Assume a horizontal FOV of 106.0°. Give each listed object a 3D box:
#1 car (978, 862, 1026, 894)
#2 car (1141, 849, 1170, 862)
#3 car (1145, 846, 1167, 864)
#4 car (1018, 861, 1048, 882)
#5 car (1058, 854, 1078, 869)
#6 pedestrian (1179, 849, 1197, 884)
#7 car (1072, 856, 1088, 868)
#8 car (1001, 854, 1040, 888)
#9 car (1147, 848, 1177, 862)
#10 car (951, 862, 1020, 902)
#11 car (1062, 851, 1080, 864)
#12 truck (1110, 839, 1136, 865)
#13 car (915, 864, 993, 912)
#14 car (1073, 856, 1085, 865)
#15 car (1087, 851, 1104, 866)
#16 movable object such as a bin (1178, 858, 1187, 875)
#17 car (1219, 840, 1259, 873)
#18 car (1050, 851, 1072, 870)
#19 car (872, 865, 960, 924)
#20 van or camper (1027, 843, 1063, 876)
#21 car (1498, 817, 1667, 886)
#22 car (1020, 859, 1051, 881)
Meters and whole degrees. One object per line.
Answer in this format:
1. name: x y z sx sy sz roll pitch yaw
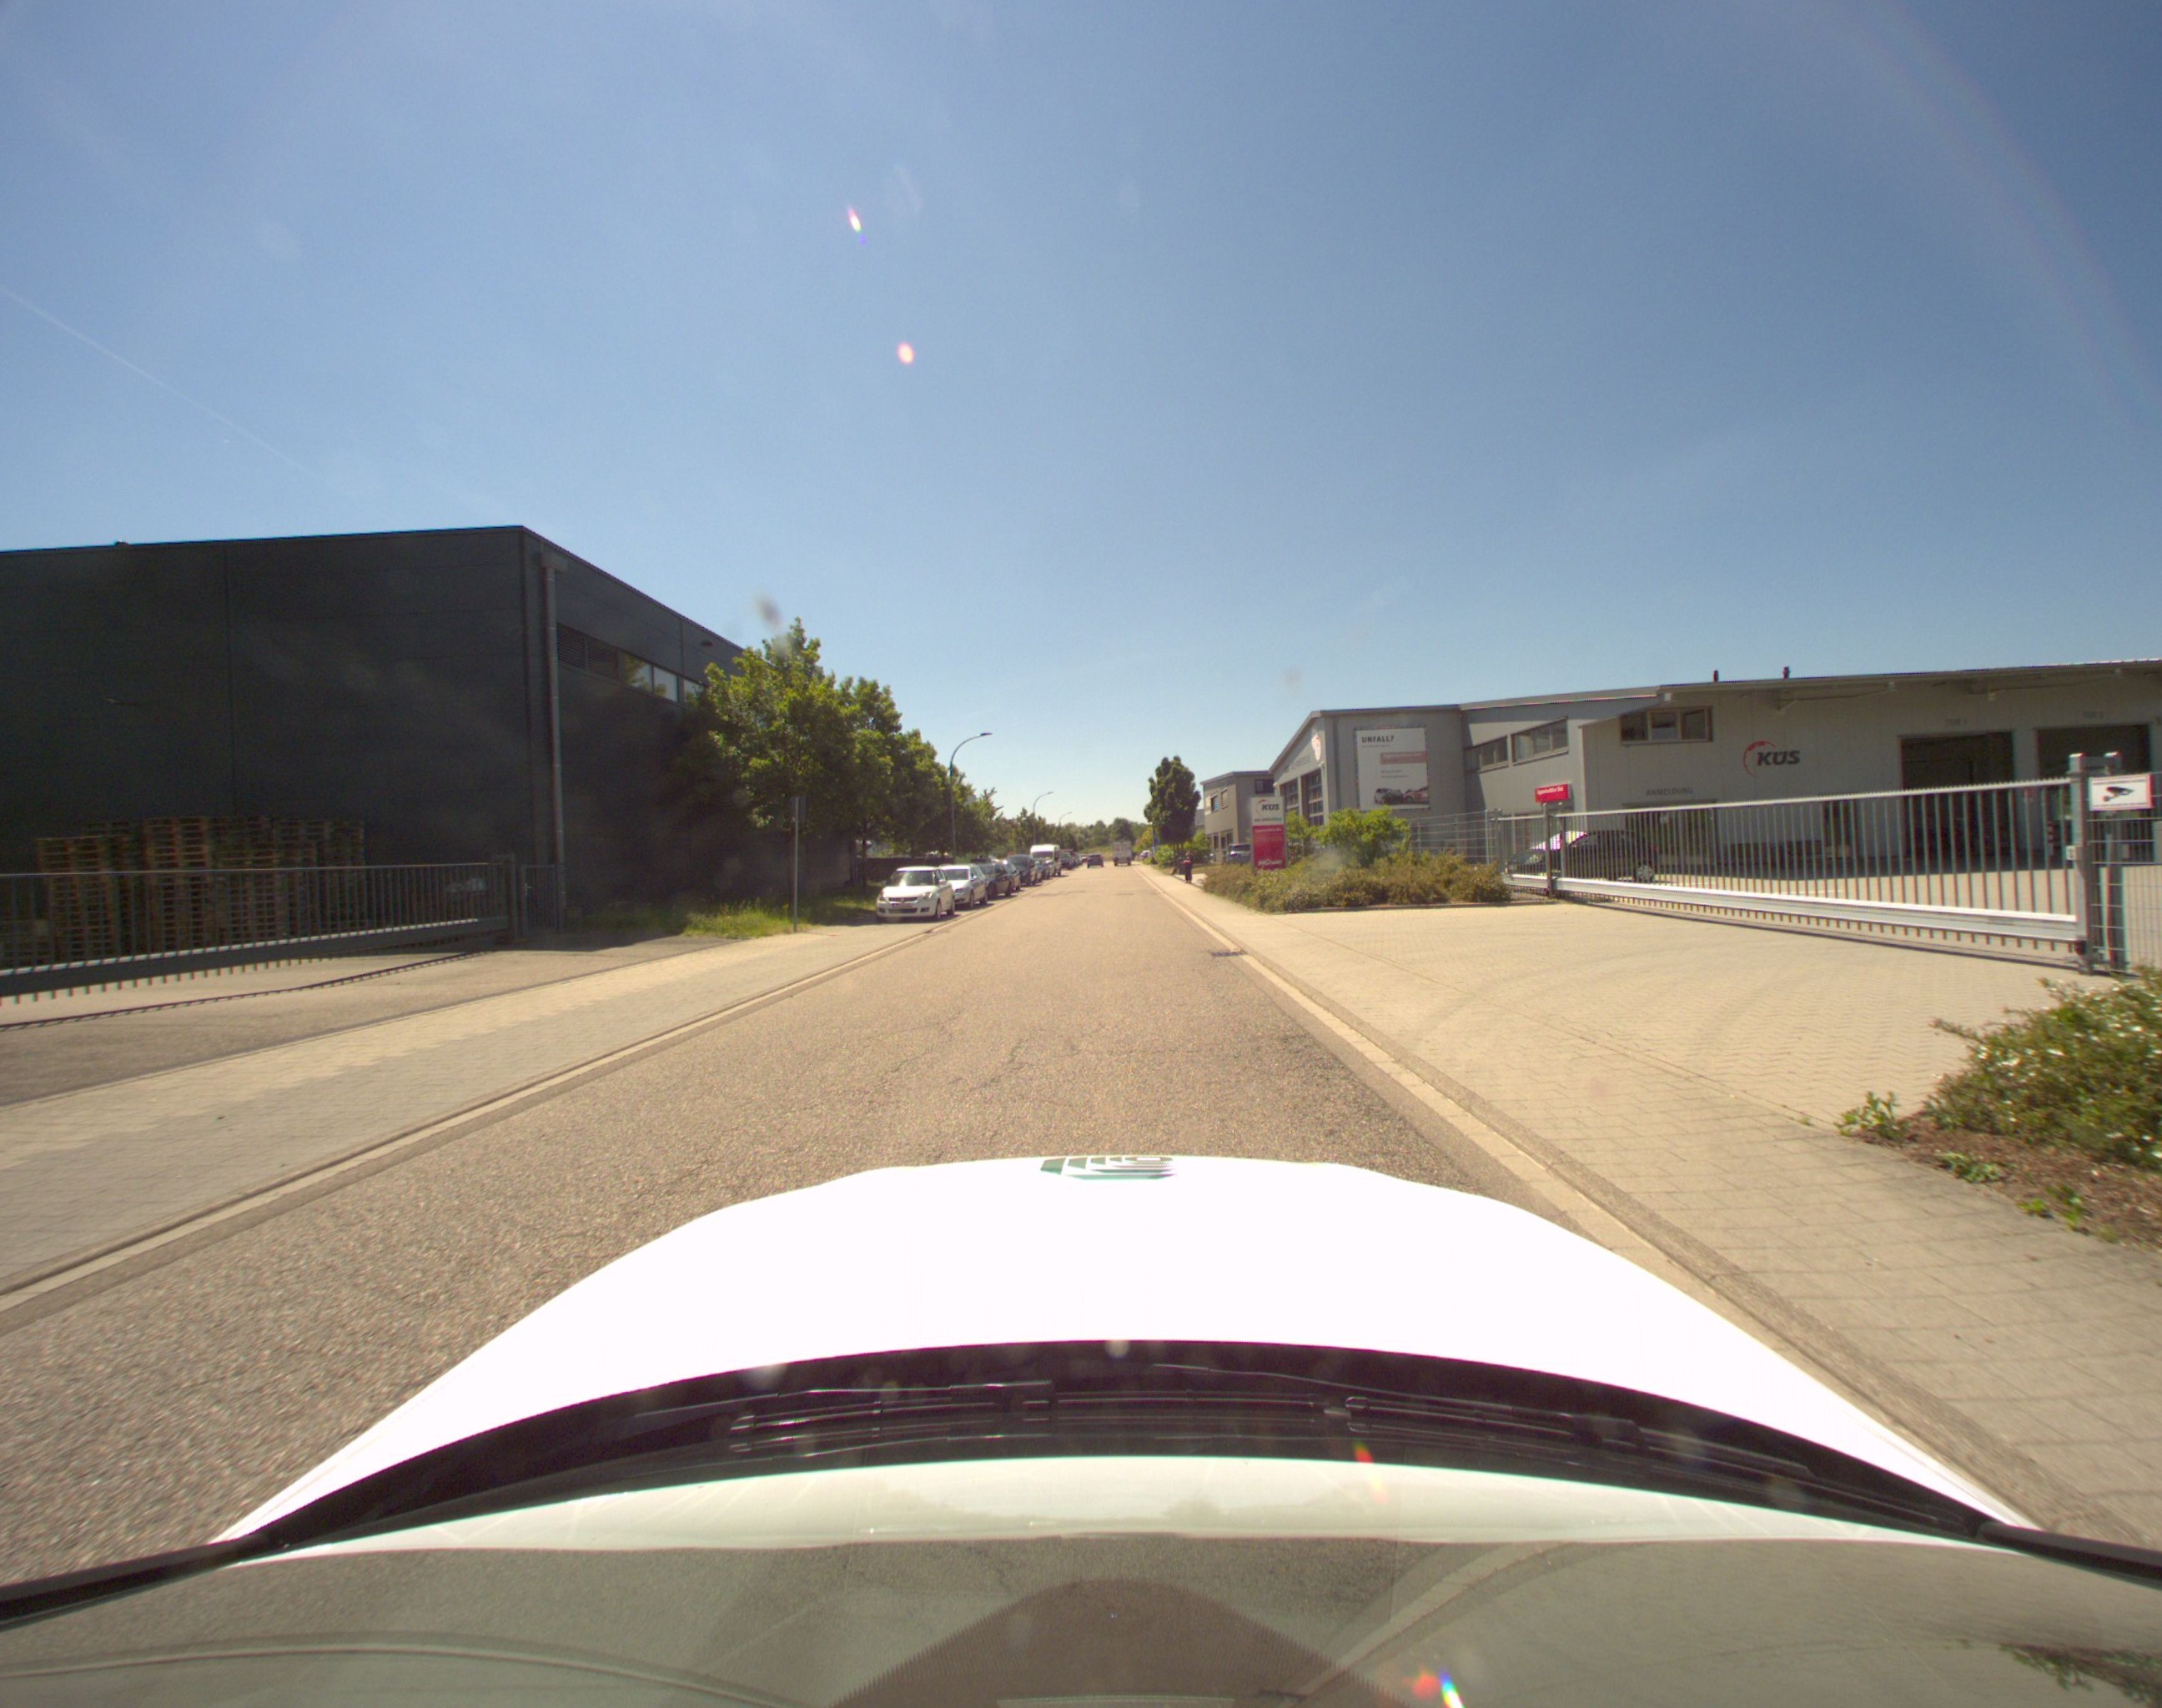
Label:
1. car: -3.944 1.179 41.344 1.792 1.476 4.590 -2 0 2
2. car: 10.386 0.180 113.115 3.863 1.750 1.751 0 0 -1
3. car: 8.227 0.138 89.654 1.987 1.803 4.139 -3 0 0
4. car: -3.177 1.147 54.272 1.471 1.297 3.903 -2 0 4
5. car: -1.430 0.842 92.202 1.791 1.487 4.257 -2 0 4
6. pedestrian: 5.223 0.610 39.784 0.501 1.613 0.710 -6 -1 -15
7. car: -0.141 0.993 107.189 1.791 1.487 4.257 -2 0 4
8. car: -3.444 0.933 47.020 1.792 1.814 4.254 -2 0 2
9. car: 10.731 0.154 108.175 3.863 1.750 1.751 0 0 -1
10. car: -3.984 1.147 34.886 1.789 1.476 4.647 -2 0 8
11. car: -1.133 0.413 97.208 1.791 1.487 4.257 -2 0 4
12. truck: 4.949 -0.228 95.503 2.921 2.974 6.423 0 0 3
13. car: -4.351 1.118 28.608 1.792 1.476 4.558 -2 0 3
14. car: -0.360 1.064 141.690 1.791 1.487 4.257 -2 0 4
15. car: 1.661 0.531 90.491 1.782 1.623 3.811 0 0 2
16. movable object such as a bin: 6.502 0.786 52.215 0.529 1.052 0.846 -3 -1 4
17. car: 9.552 0.188 49.484 1.777 1.783 4.911 -3 -1 5
18. car: -2.026 0.682 84.275 1.791 1.848 4.257 -2 0 4
19. car: -4.631 1.093 23.378 1.715 1.476 3.857 -2 0 0
20. van or camper: -2.777 0.456 64.160 2.069 2.483 6.138 0 0 5
21. car: 13.798 -0.061 22.557 3.598 1.677 1.703 -2 0 1
22. car: -3.201 1.102 57.494 1.792 1.449 4.254 -2 0 2
